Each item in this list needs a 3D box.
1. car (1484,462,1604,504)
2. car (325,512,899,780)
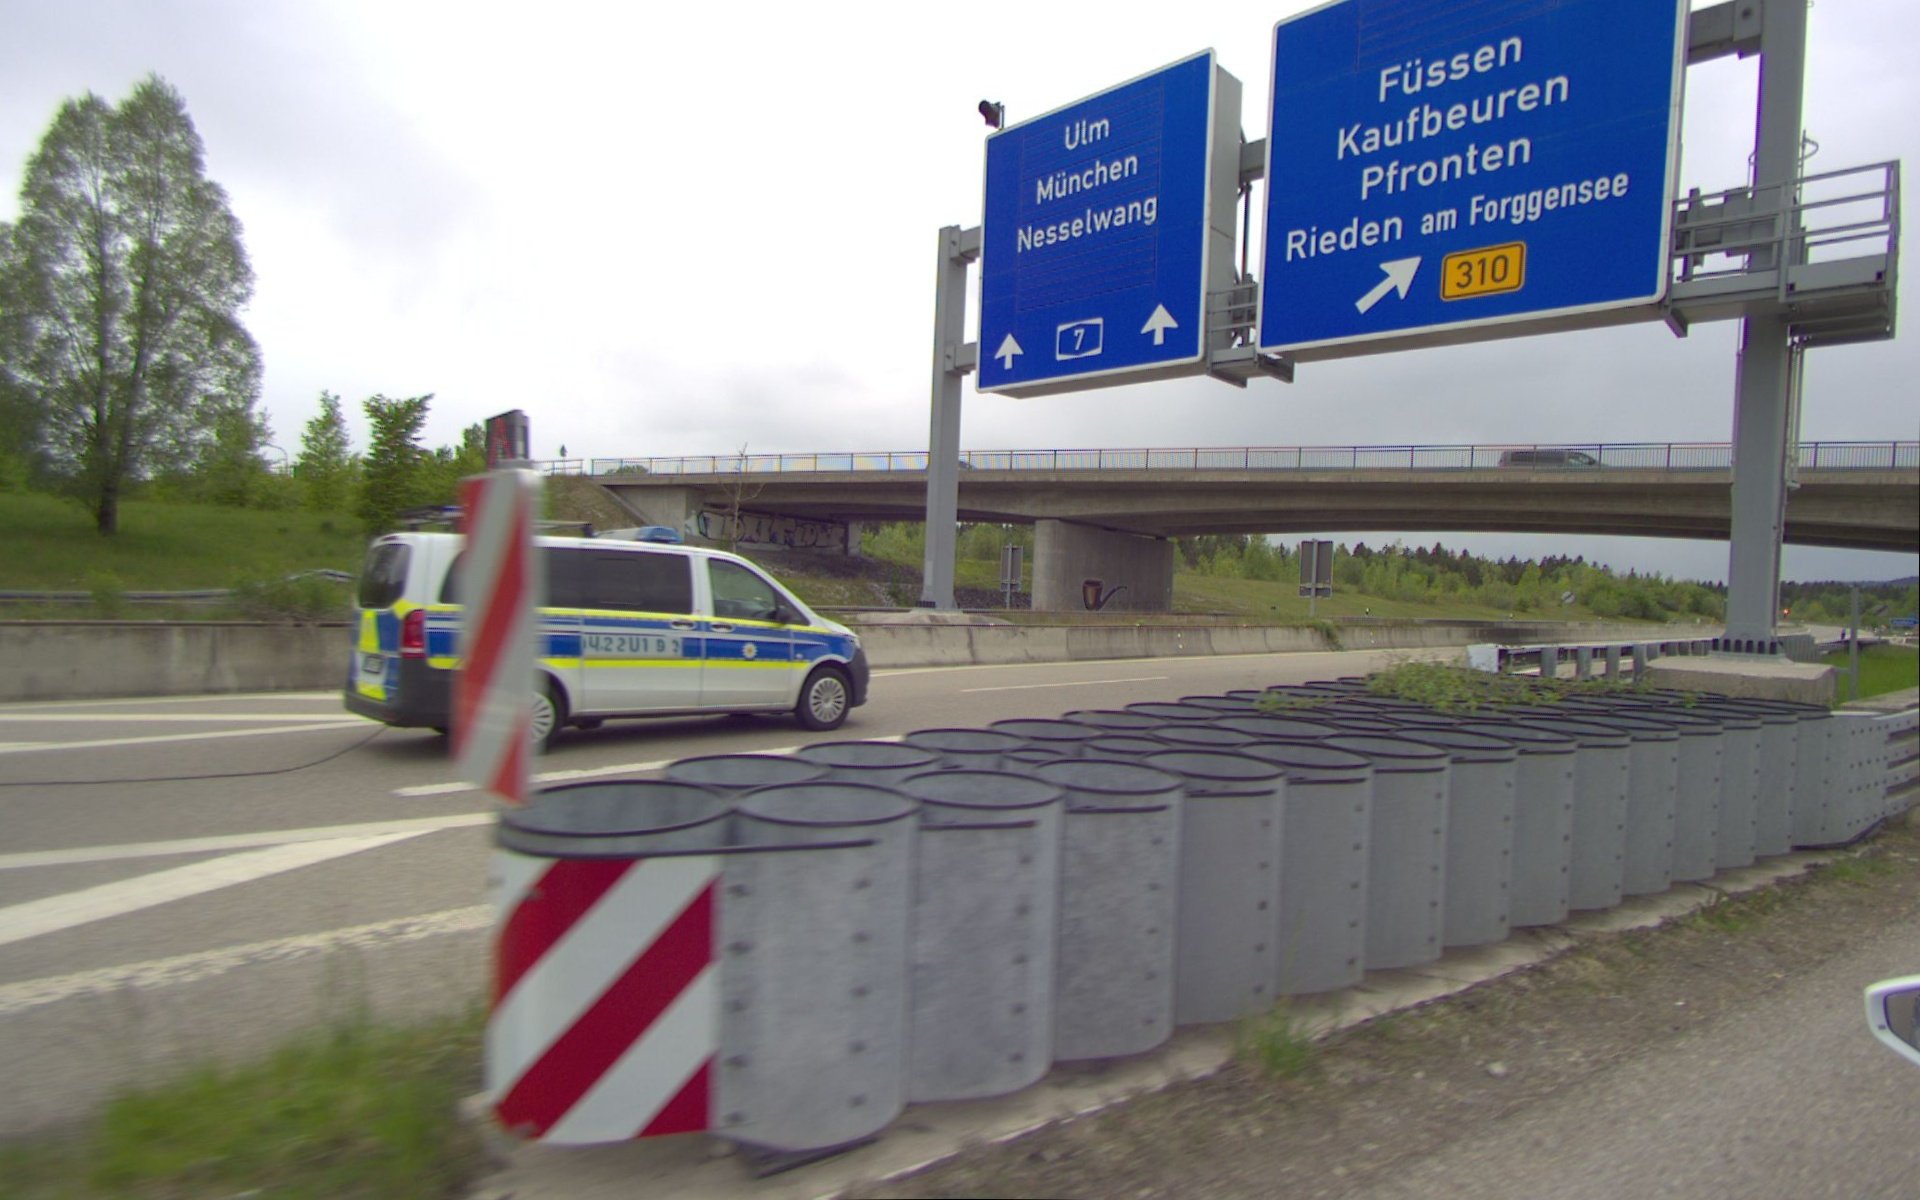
[{"bbox_3d":[28.620,-5.725,49.389,4.844,1.669,1.999,1,-1,23],"label":"car"},{"bbox_3d":[-3.268,0.408,10.220,5.017,2.040,2.263,2,-1,-44],"label":"car"}]
